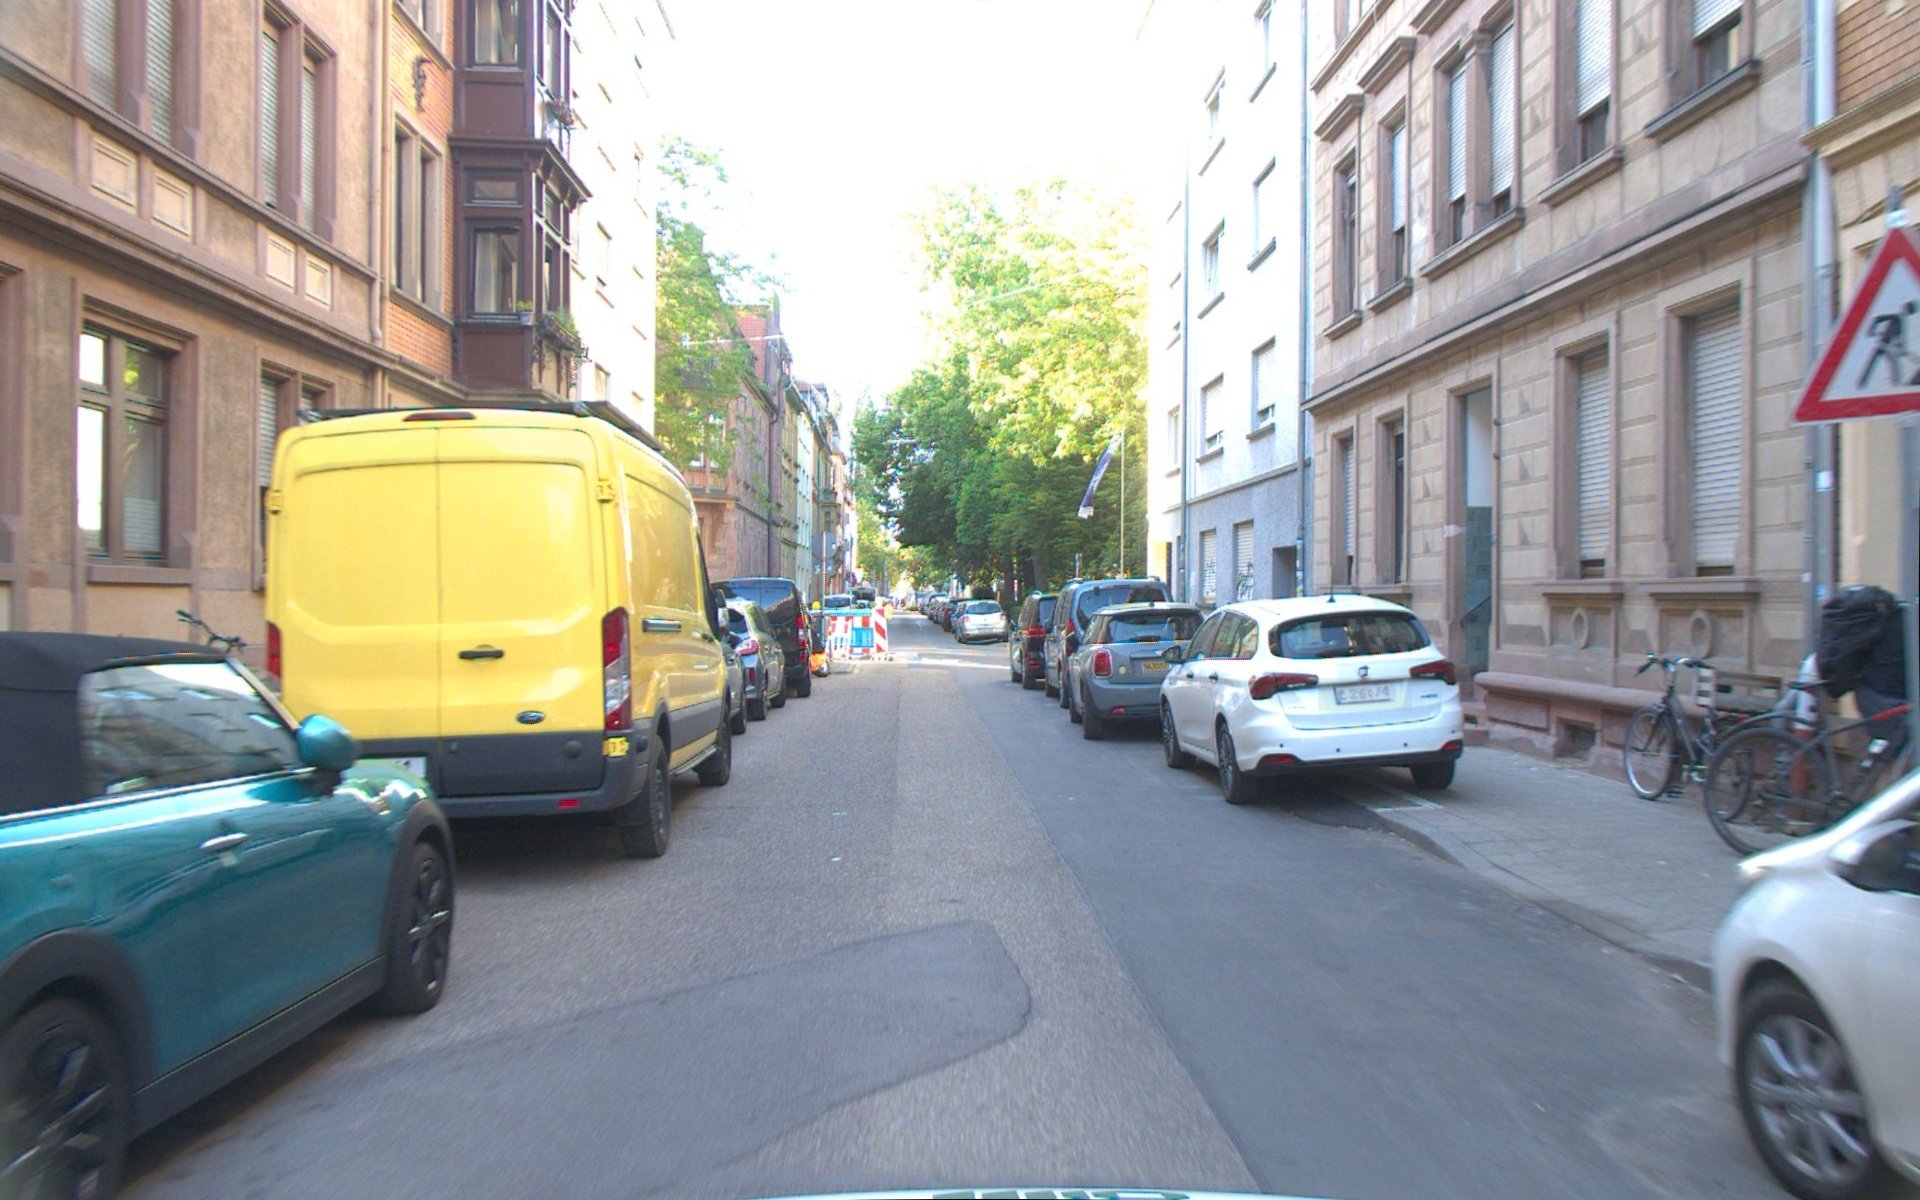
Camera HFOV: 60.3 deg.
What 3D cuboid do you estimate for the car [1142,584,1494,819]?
[{"bbox_3d":[2.792,0.702,13.949,1.719,1.544,4.441,-4,1,-3],"label":"car"}]

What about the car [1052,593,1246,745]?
[{"bbox_3d":[2.135,0.729,19.814,1.718,1.478,4.287,-4,1,0],"label":"car"}]

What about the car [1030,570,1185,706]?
[{"bbox_3d":[2.144,0.508,25.254,1.718,1.817,4.721,-2,0,-2],"label":"car"}]

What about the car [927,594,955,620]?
[{"bbox_3d":[-1.304,0.485,112.159,1.793,1.733,3.998,1,0,-3],"label":"car"}]

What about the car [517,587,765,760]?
[{"bbox_3d":[-3.152,0.666,17.142,1.953,1.579,3.998,0,0,-3],"label":"car"}]

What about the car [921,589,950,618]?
[{"bbox_3d":[-1.955,0.297,130.736,2.117,2.295,4.522,0,-1,-3],"label":"car"}]

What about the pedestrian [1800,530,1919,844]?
[{"bbox_3d":[5.212,0.461,9.085,0.650,1.659,0.866,-1,-1,-44],"label":"pedestrian"}]

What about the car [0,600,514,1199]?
[{"bbox_3d":[-2.784,0.788,4.948,1.683,1.437,3.898,-4,0,1],"label":"car"}]

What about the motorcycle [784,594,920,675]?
[{"bbox_3d":[-2.085,0.665,32.019,2.484,1.508,0.895,1,0,-29],"label":"motorcycle"}]

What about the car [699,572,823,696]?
[{"bbox_3d":[-3.096,0.502,26.409,1.783,1.797,4.331,0,0,-5],"label":"car"}]

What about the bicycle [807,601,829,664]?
[{"bbox_3d":[-2.980,0.673,34.747,0.391,1.248,1.504,0,1,-3],"label":"bicycle"}]

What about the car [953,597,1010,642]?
[{"bbox_3d":[0.727,0.669,59.401,1.690,1.549,3.996,0,0,-5],"label":"car"}]

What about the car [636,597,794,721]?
[{"bbox_3d":[-3.150,0.711,21.859,1.643,1.475,3.643,1,0,-2],"label":"car"}]

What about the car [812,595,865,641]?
[{"bbox_3d":[-4.770,0.710,65.203,1.844,1.737,3.999,-1,0,-1],"label":"car"}]

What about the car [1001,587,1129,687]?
[{"bbox_3d":[1.822,0.630,29.913,1.862,1.669,4.388,0,0,-2],"label":"car"}]

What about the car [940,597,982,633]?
[{"bbox_3d":[0.015,0.726,80.577,1.856,1.654,3.998,0,0,-3],"label":"car"}]

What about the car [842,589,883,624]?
[{"bbox_3d":[-6.056,0.407,103.233,2.262,2.151,5.168,0,0,-1],"label":"car"}]

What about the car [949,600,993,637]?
[{"bbox_3d":[0.494,0.812,75.763,1.804,1.624,3.998,1,0,-3],"label":"car"}]

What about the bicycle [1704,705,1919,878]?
[{"bbox_3d":[5.047,1.023,8.909,0.592,0.830,1.798,-2,0,-43],"label":"bicycle"}]

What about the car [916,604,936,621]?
[{"bbox_3d":[-3.496,1.273,168.616,1.953,1.758,3.998,0,0,-2],"label":"car"}]

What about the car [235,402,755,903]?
[{"bbox_3d":[-2.798,0.264,11.623,2.131,2.551,5.875,-2,0,-2],"label":"car"}]

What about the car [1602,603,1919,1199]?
[{"bbox_3d":[3.034,0.777,3.314,1.686,1.506,4.080,-4,0,-3],"label":"car"}]

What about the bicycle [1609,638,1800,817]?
[{"bbox_3d":[5.051,0.831,11.316,0.506,1.084,1.567,-2,0,-3],"label":"bicycle"}]
